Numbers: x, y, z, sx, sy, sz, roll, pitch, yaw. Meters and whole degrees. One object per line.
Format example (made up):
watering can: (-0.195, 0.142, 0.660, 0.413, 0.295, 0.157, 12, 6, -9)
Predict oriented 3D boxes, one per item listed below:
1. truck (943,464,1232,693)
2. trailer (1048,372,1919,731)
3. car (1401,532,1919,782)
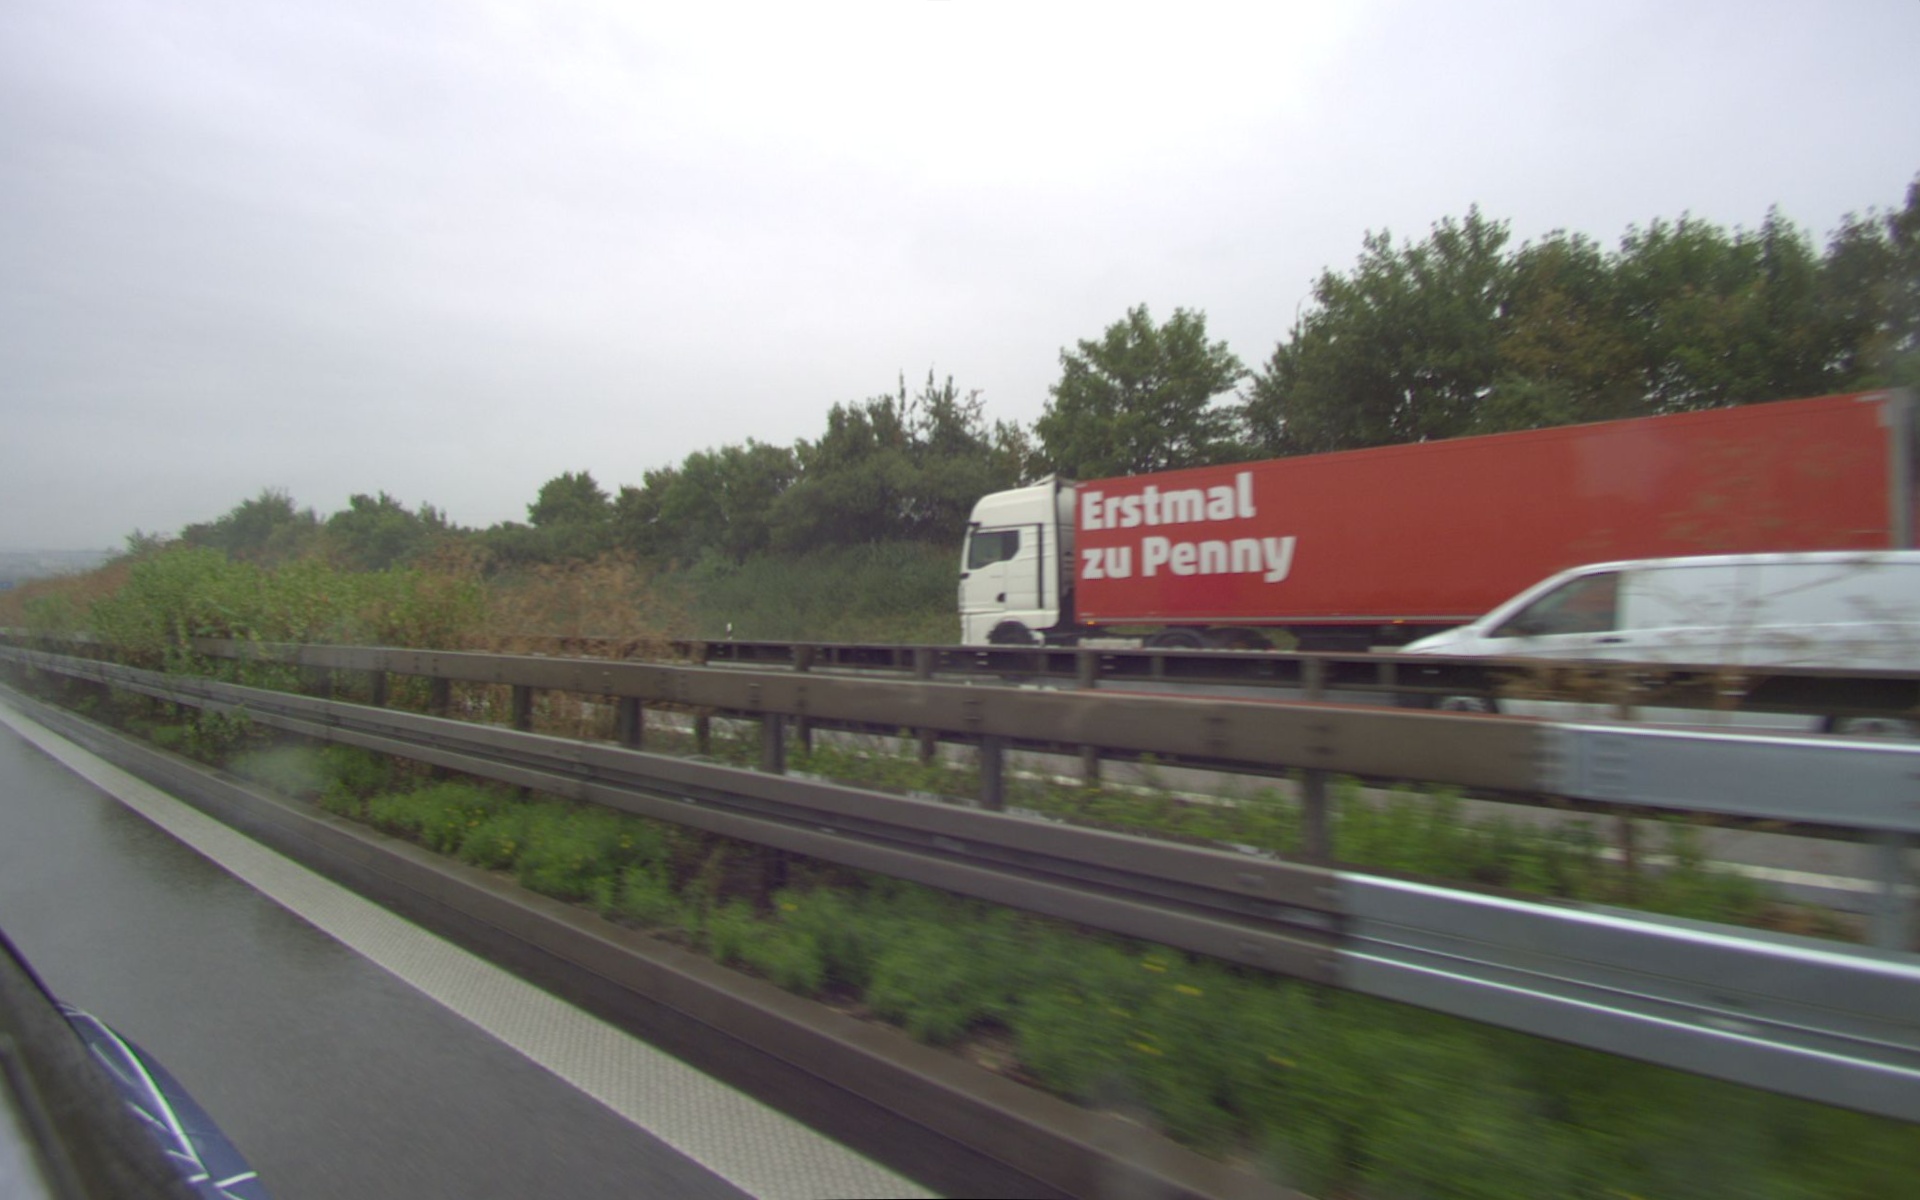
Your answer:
truck: (2.372, -0.325, 19.671, 4.973, 3.860, 2.557, -1, -1, 41)
trailer: (7.040, -0.435, 15.517, 12.207, 3.860, 2.571, -1, -1, 42)
car: (7.335, 0.474, 9.647, 5.390, 1.985, 1.973, -1, -1, 41)
